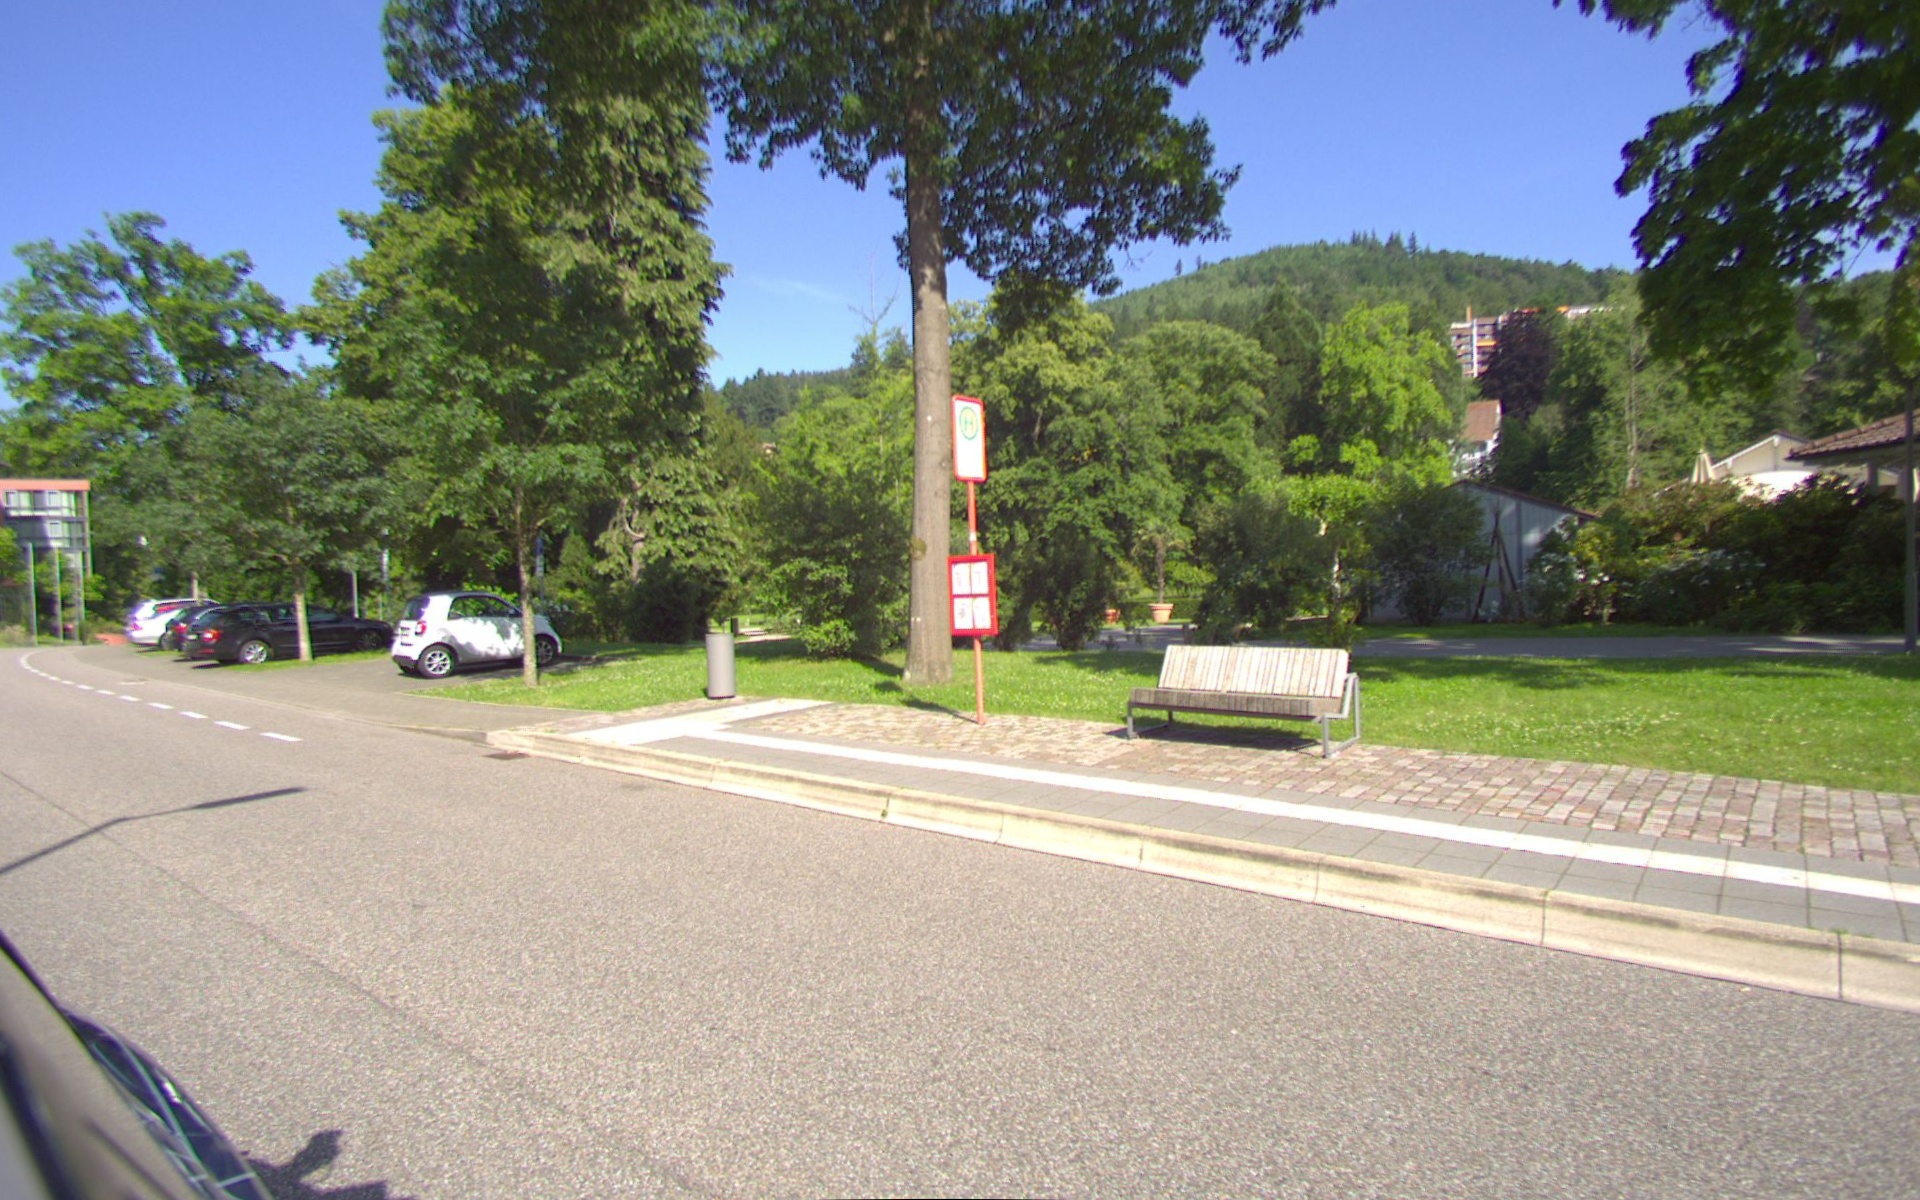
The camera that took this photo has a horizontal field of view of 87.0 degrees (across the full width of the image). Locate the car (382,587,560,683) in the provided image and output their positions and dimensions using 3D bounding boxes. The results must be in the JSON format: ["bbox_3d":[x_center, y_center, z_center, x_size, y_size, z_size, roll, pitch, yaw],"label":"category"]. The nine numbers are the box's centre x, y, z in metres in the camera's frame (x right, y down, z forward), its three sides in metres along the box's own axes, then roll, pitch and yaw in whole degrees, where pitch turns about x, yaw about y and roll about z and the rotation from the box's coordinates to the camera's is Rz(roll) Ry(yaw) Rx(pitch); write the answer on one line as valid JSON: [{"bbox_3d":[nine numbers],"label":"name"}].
[{"bbox_3d":[-9.336,0.613,19.394,2.620,1.558,1.684,-5,3,-43],"label":"car"}]

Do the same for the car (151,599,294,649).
[{"bbox_3d":[-26.599,0.834,36.583,3.940,1.443,1.722,-5,3,-43],"label":"car"}]

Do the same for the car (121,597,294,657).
[{"bbox_3d":[-25.038,0.836,33.793,4.427,1.427,1.814,-7,5,-38],"label":"car"}]

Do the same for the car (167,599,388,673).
[{"bbox_3d":[-17.034,0.844,25.468,1.709,1.442,4.240,-1,3,35],"label":"car"}]

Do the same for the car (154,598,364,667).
[{"bbox_3d":[-19.339,0.831,28.082,1.712,1.521,4.449,-1,2,40],"label":"car"}]

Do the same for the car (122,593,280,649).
[{"bbox_3d":[-28.565,0.731,38.190,1.810,1.675,4.434,0,4,43],"label":"car"}]
